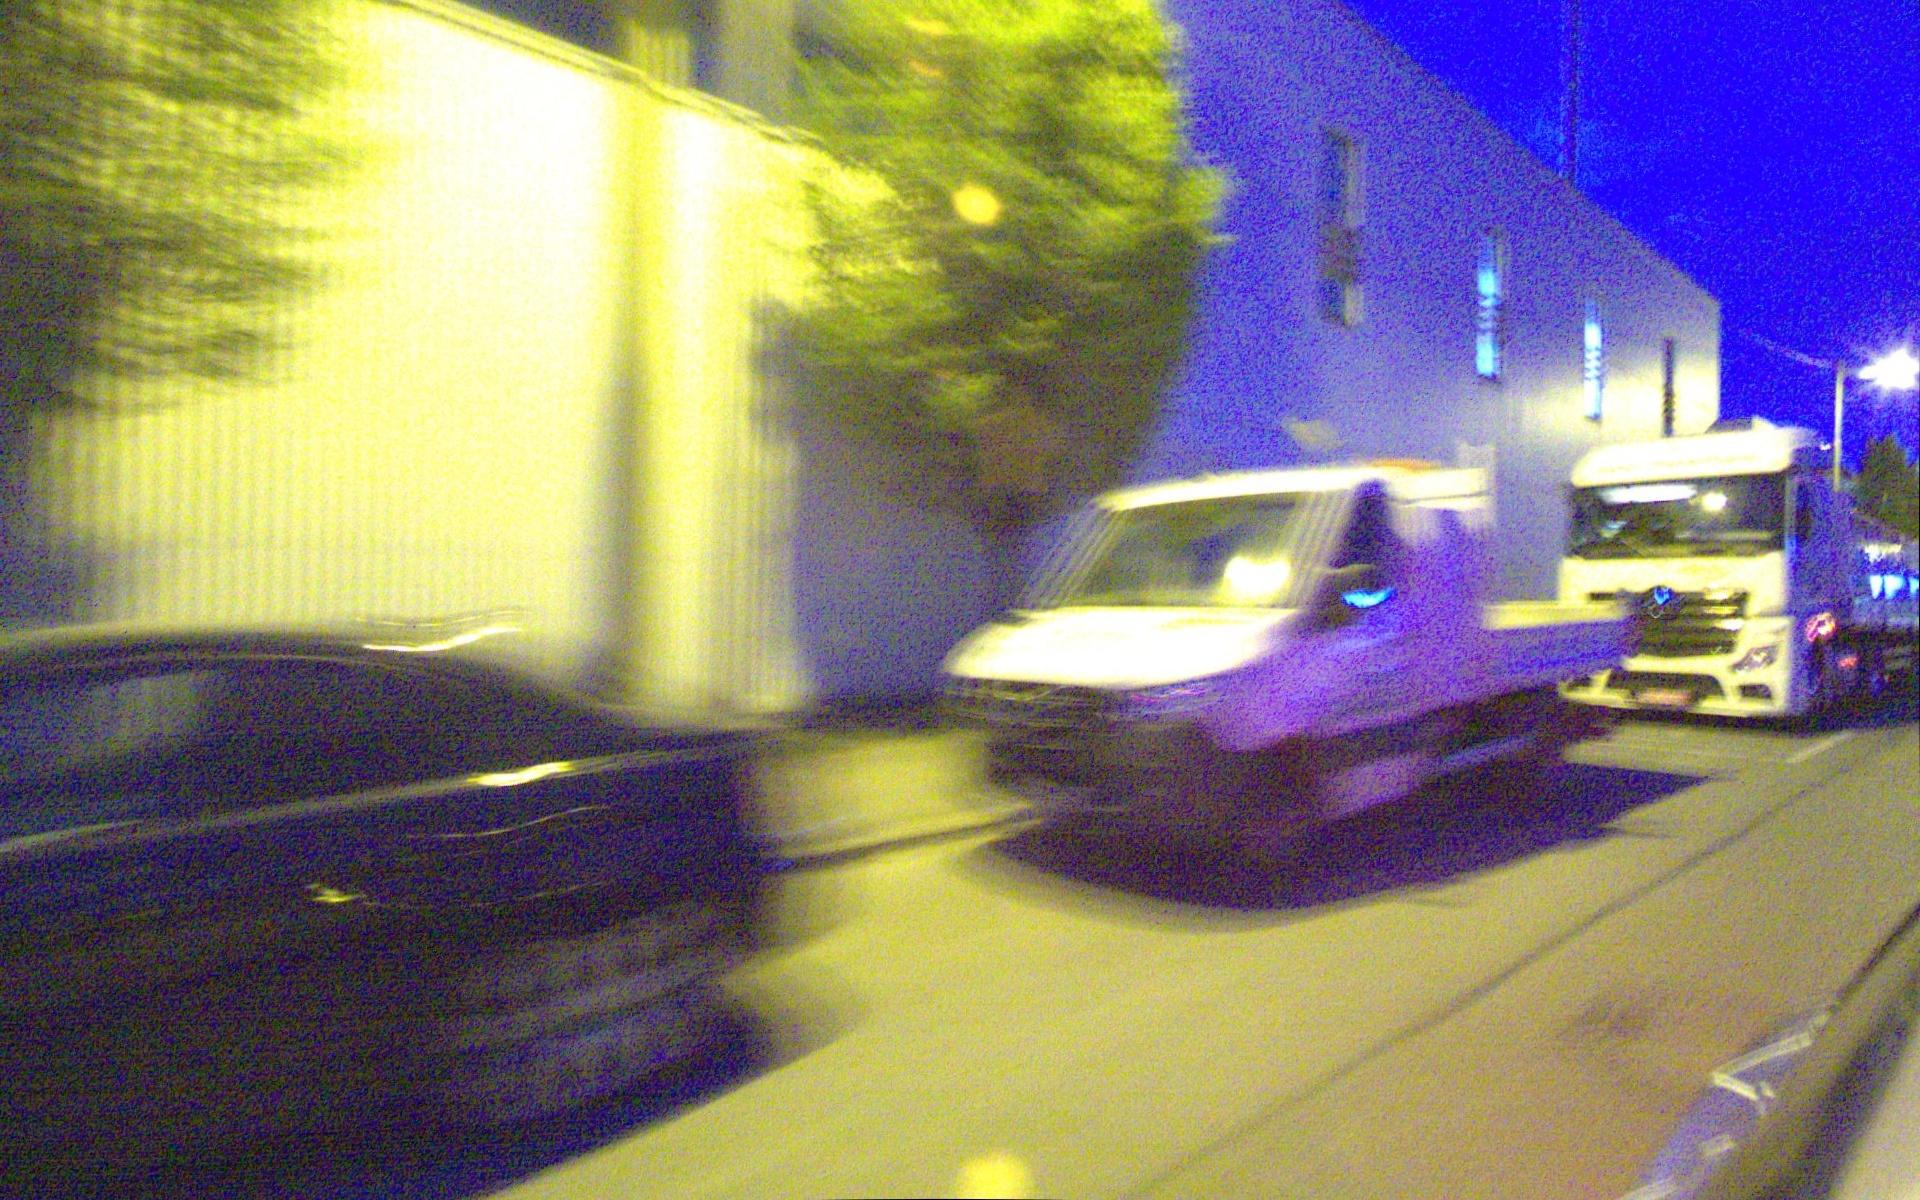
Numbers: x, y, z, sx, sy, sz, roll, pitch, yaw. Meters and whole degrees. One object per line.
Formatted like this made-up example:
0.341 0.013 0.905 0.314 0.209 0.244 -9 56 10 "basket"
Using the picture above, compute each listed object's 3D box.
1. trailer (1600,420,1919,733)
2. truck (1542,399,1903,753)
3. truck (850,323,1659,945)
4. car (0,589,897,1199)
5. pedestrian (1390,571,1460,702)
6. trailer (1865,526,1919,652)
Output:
15.551 -0.344 18.069 14.397 3.811 2.770 -1 0 -40 "trailer"
10.360 -0.275 13.614 5.136 3.811 2.770 0 -1 -40 "truck"
2.584 0.131 7.290 6.479 2.627 2.406 0 0 -40 "truck"
-2.633 0.723 2.480 4.822 1.426 1.832 0 -2 -41 "car"
6.160 0.463 13.407 0.677 1.669 0.575 0 2 -41 "pedestrian"
30.591 -0.313 31.234 8.137 3.569 2.884 0 0 -40 "trailer"
